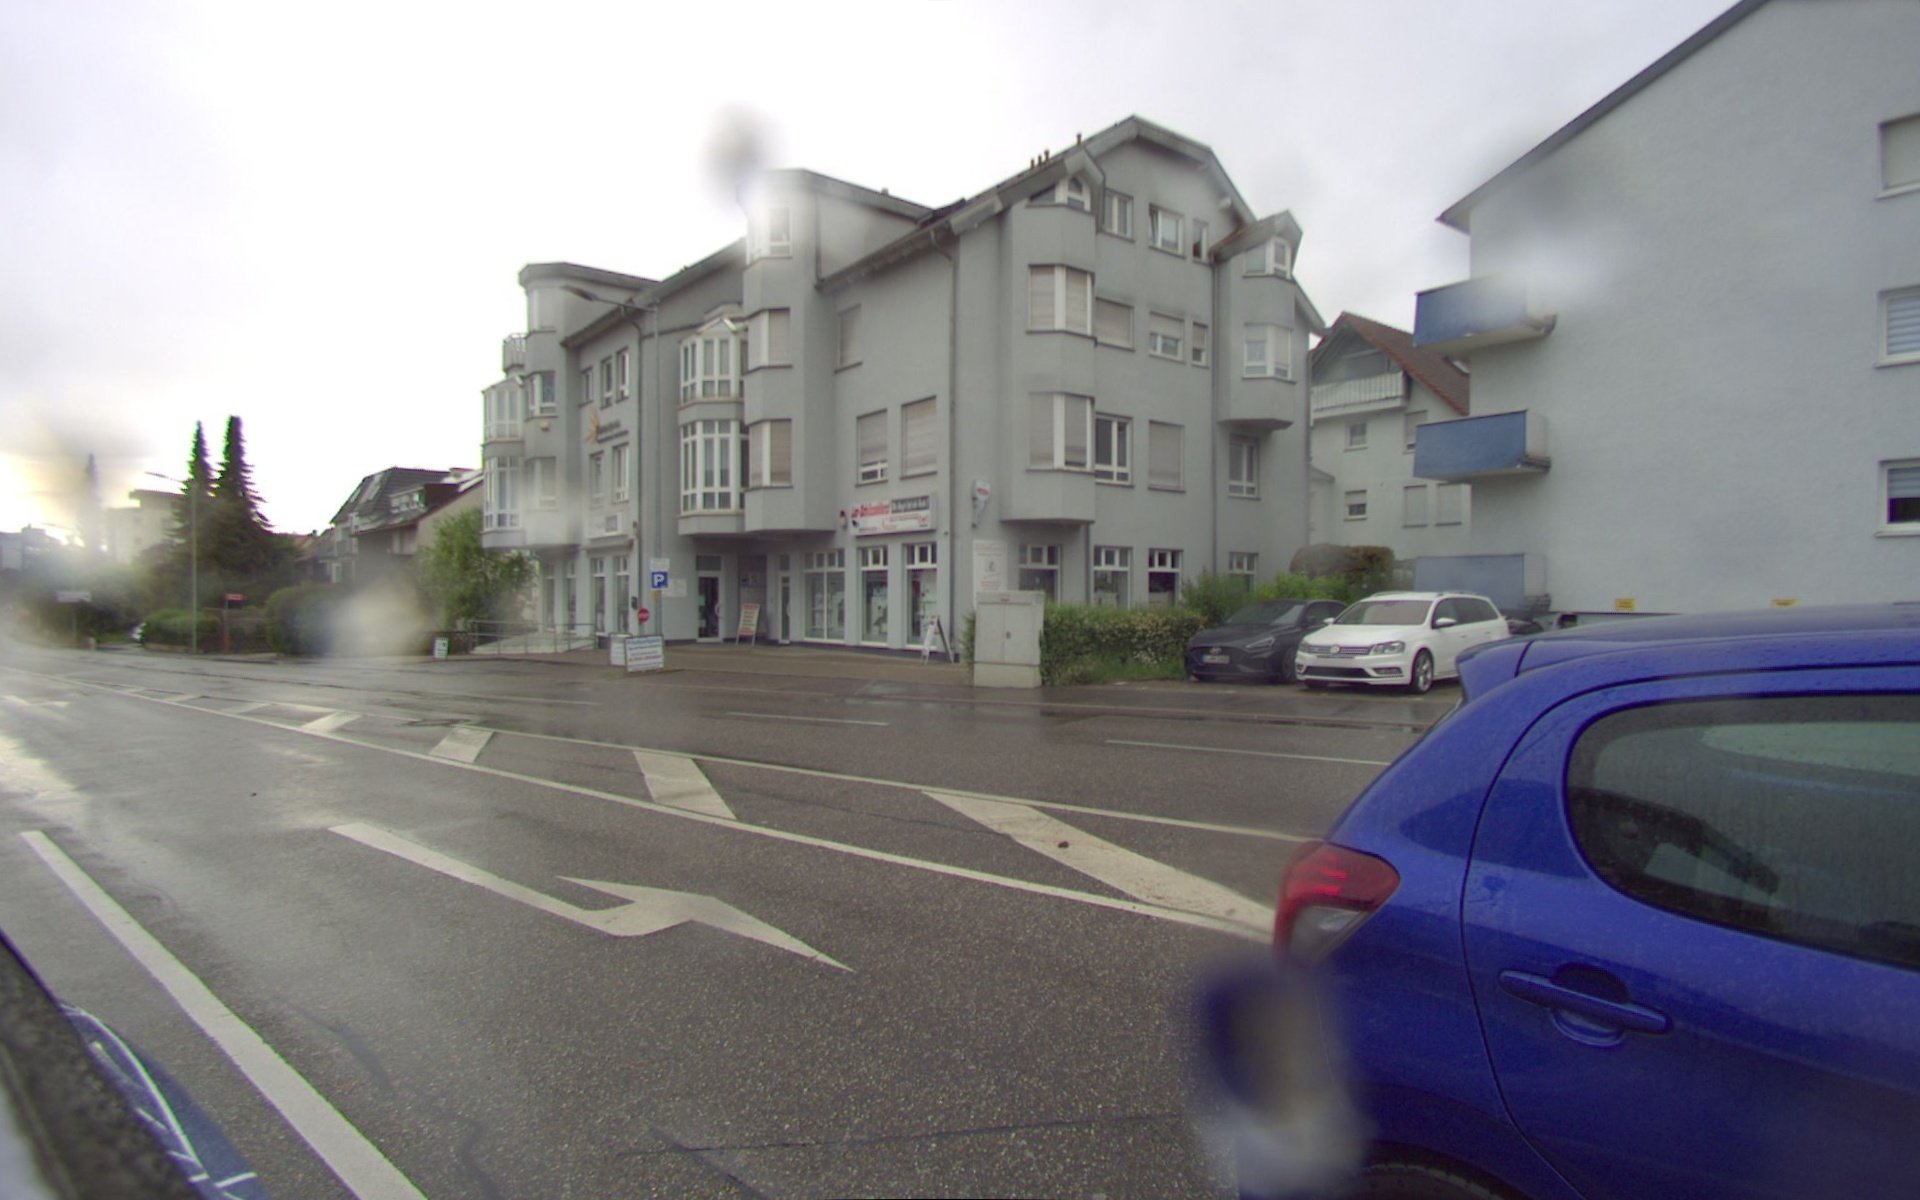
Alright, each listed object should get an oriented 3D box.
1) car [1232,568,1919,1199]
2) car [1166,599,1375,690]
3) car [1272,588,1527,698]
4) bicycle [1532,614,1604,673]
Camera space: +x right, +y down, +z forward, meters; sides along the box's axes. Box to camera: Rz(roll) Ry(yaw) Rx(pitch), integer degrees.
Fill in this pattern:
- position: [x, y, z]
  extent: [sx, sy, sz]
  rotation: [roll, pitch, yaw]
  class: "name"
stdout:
- position: [2.236, 0.644, 1.208]
  extent: [3.362, 1.423, 1.489]
  rotation: [-2, -1, 41]
  class: "car"
- position: [5.494, 0.693, 17.661]
  extent: [1.851, 1.366, 3.941]
  rotation: [-1, 0, 45]
  class: "car"
- position: [6.982, 0.607, 15.816]
  extent: [4.685, 1.471, 1.883]
  rotation: [0, -2, -42]
  class: "car"
- position: [11.144, 0.795, 18.572]
  extent: [1.065, 1.061, 0.343]
  rotation: [-2, -1, 41]
  class: "bicycle"
